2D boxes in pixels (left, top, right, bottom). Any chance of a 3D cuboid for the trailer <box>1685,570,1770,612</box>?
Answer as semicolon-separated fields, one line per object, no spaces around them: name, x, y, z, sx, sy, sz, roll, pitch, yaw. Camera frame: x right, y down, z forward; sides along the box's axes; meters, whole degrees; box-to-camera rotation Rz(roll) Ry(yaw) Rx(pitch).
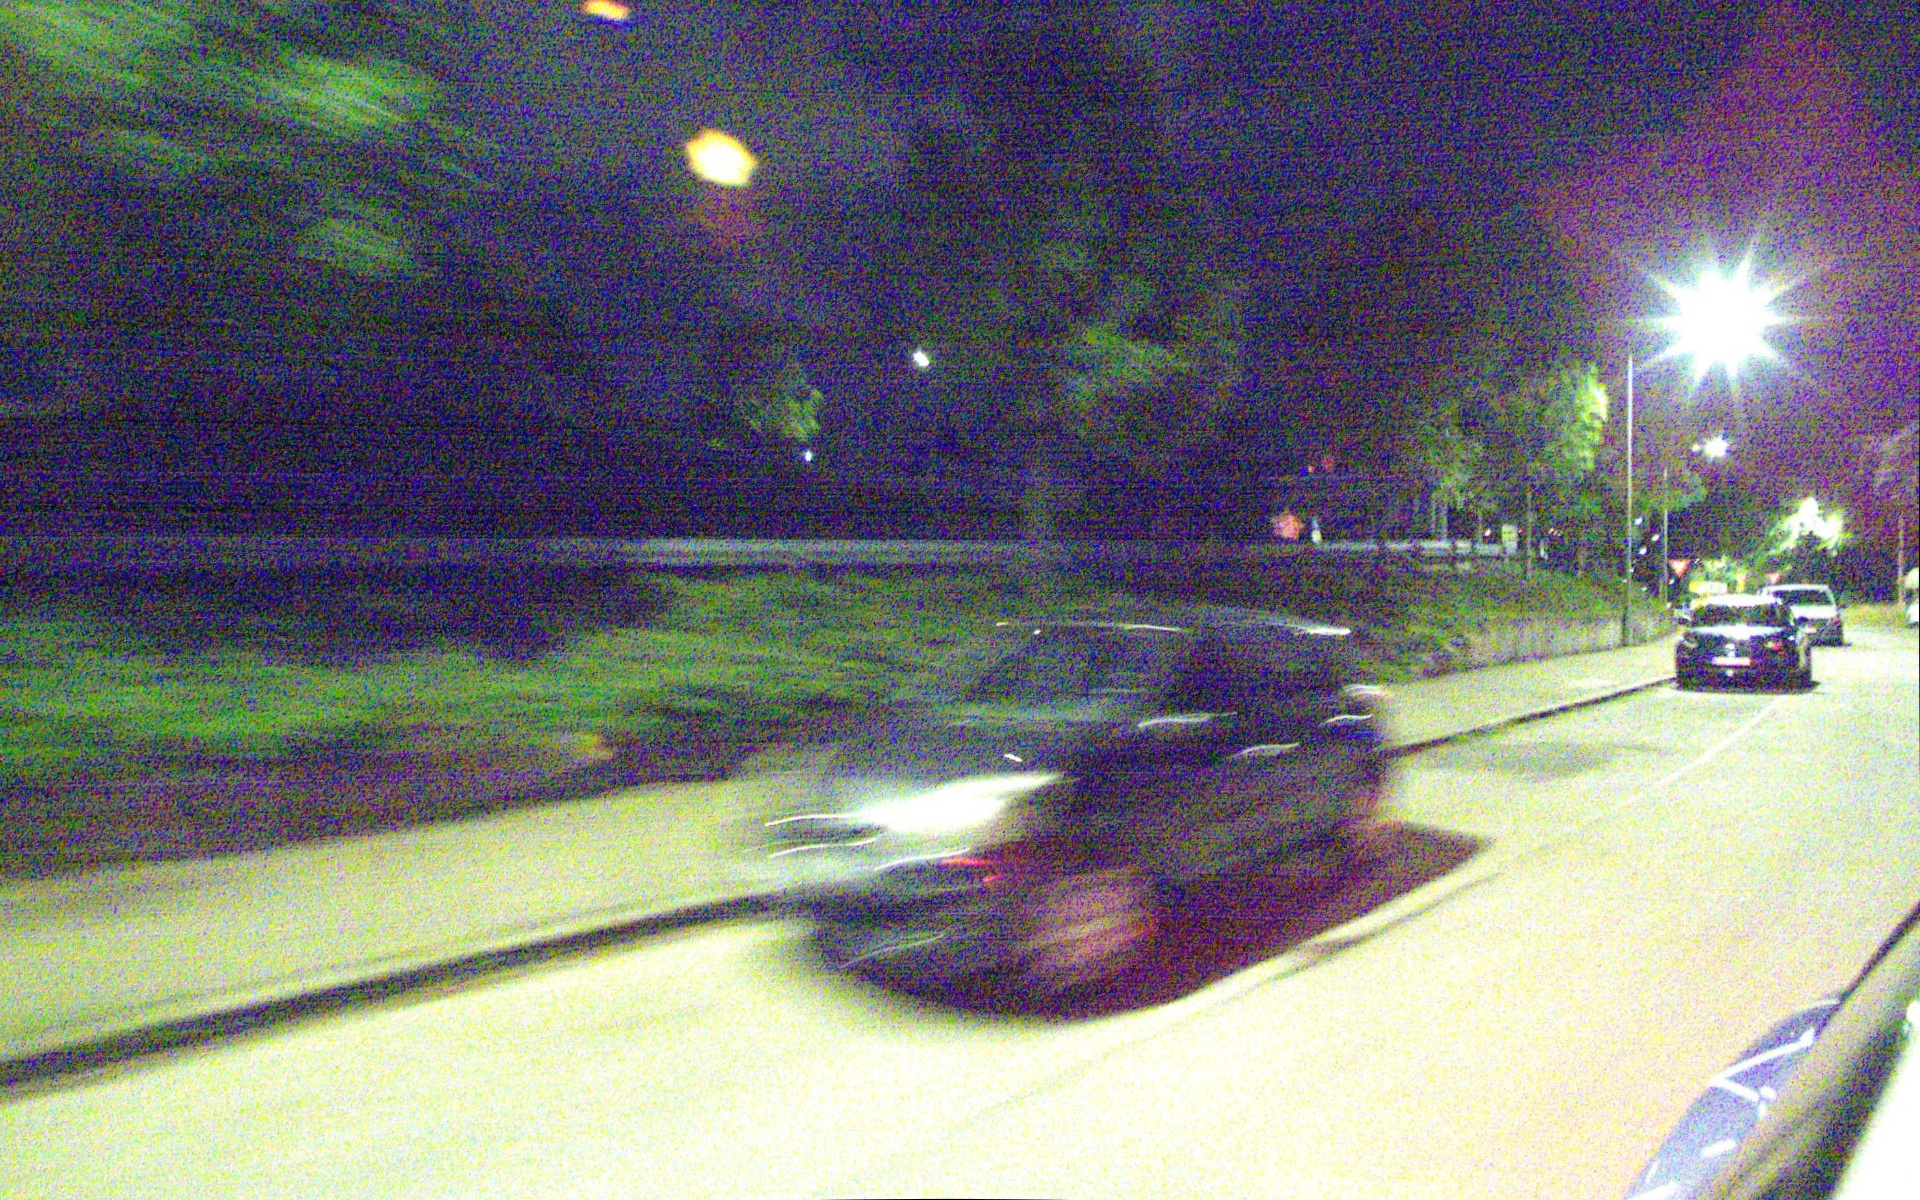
trailer;39.949;-0.480;52.810;1.472;2.039;4.968;1;1;12

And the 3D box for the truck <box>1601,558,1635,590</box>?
truck;78.213;-3.025;120.437;3.035;3.668;9.493;1;1;31

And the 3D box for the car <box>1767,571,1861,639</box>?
car;27.532;0.164;32.794;1.988;2.039;5.283;-1;-1;37

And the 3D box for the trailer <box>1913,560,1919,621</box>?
trailer;49.266;-0.460;49.615;2.475;3.111;7.854;1;1;35

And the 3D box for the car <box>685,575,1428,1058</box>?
car;0.781;0.676;5.210;3.935;1.527;1.711;0;0;-45

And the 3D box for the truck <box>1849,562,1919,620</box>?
truck;55.048;-0.524;58.741;2.724;3.103;9.254;1;1;26

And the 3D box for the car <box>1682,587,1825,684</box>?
car;14.130;0.573;17.949;1.608;1.531;3.765;-2;-1;44
